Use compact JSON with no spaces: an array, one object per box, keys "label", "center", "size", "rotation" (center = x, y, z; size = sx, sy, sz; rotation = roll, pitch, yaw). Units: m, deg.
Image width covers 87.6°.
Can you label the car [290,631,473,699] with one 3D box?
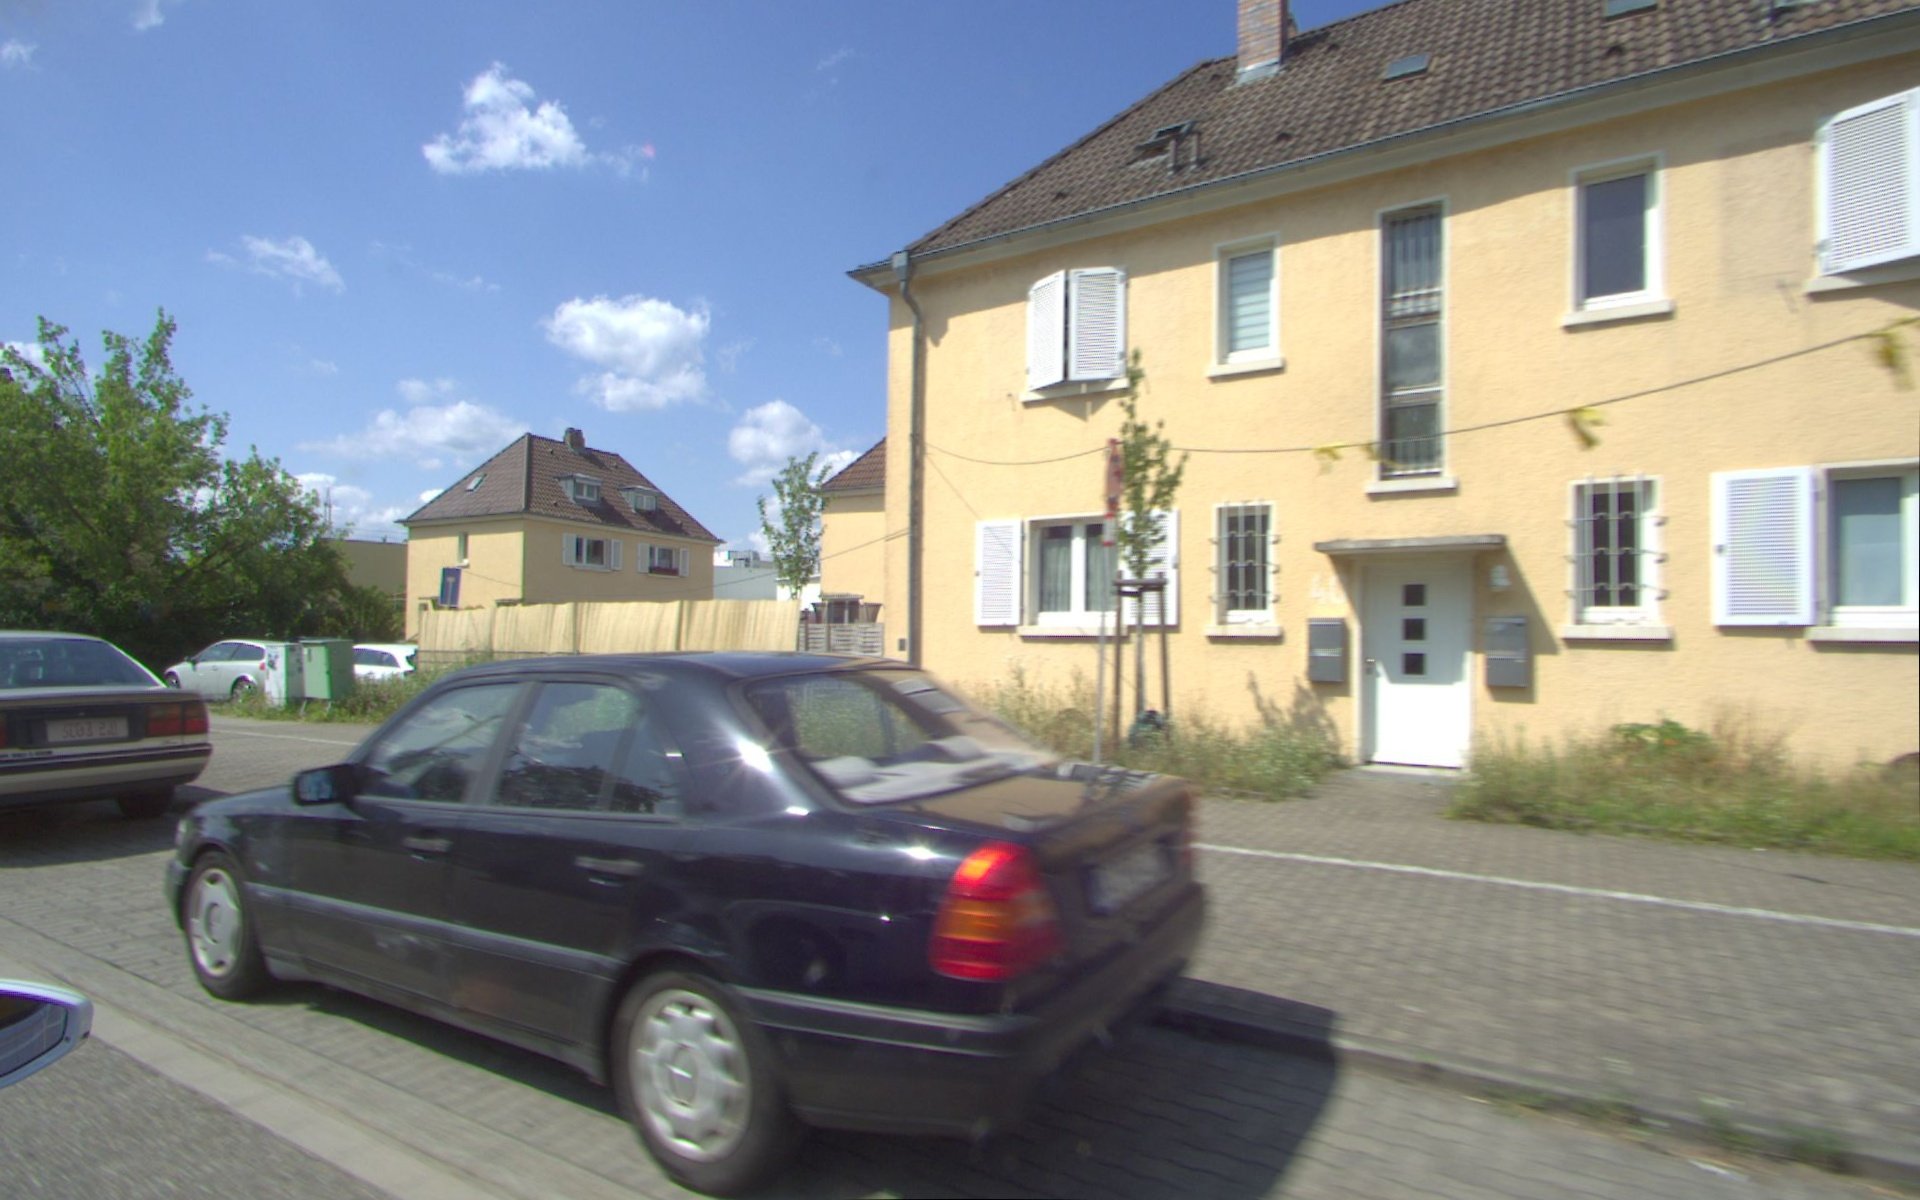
[{"label":"car","center":[-13.214,1.440,22.853],"size":[4.022,1.391,1.637],"rotation":[0,-2,26]}]

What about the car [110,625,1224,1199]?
[{"label":"car","center":[-1.374,0.864,3.886],"size":[4.387,1.467,1.576],"rotation":[0,-2,31]}]

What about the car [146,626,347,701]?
[{"label":"car","center":[-14.685,1.259,20.577],"size":[4.022,1.391,1.637],"rotation":[0,-2,26]}]

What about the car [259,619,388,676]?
[{"label":"car","center":[-19.422,1.394,30.528],"size":[4.026,1.568,1.634],"rotation":[0,1,30]}]

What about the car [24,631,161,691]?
[{"label":"car","center":[-22.028,1.514,25.395],"size":[4.031,1.372,1.633],"rotation":[-1,-2,34]}]

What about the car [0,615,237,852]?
[{"label":"car","center":[-7.780,0.864,7.802],"size":[4.763,1.467,1.705],"rotation":[0,-3,31]}]

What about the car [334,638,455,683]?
[{"label":"car","center":[-18.756,1.989,33.189],"size":[4.026,1.418,1.635],"rotation":[-1,-3,30]}]
